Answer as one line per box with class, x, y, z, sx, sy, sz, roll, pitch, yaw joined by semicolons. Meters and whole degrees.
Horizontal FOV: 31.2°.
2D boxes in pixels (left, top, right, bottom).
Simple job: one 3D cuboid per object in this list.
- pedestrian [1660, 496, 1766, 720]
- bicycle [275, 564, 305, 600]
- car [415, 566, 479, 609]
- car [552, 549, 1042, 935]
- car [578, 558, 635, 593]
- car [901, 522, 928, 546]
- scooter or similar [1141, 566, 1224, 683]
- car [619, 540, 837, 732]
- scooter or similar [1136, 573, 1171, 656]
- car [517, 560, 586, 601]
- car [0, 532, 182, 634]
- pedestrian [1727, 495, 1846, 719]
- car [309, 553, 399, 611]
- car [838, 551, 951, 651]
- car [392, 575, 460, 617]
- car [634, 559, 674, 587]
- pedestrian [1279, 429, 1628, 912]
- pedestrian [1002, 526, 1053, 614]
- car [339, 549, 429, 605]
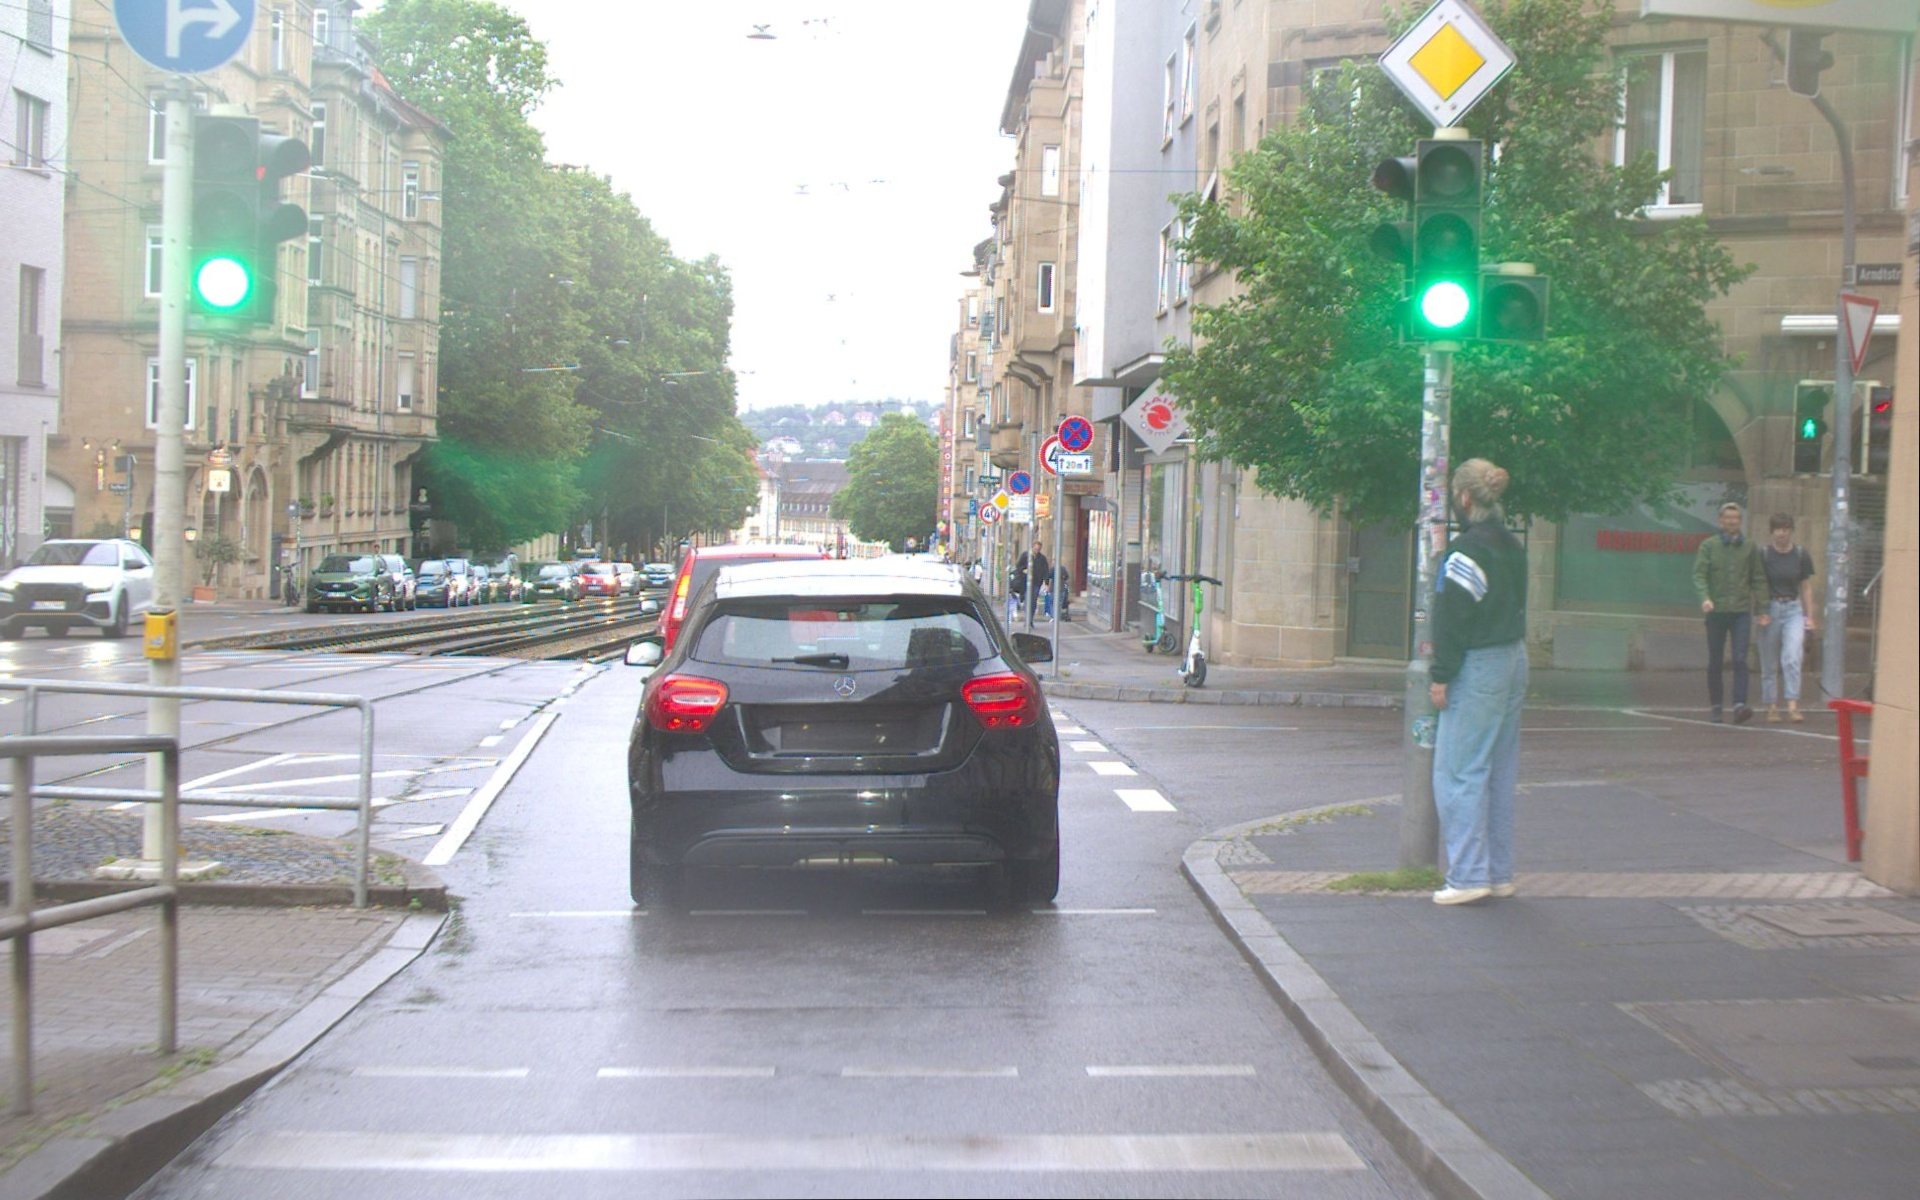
pedestrian;6.109;0.057;27.929;0.594;1.782;0.891;-1;0;-4
bicycle;-18.566;-0.506;95.299;0.598;0.997;2.080;0;1;-5
car;-16.954;-0.418;113.699;1.569;1.408;3.481;0;1;1
car;-0.606;0.526;15.359;1.866;1.447;4.000;2;1;1
car;-14.177;-1.002;138.107;1.806;1.356;4.763;0;1;0
car;-2.758;-3.976;208.012;1.613;1.313;4.000;2;0;-1
scooter or similar;2.334;0.244;36.198;0.638;1.206;1.553;0;1;-5
car;-1.911;0.252;28.625;1.649;1.447;4.001;2;1;-3
scooter or similar;2.881;0.208;51.288;0.395;1.212;1.107;1;1;-3
car;-14.293;-0.691;120.376;1.948;1.392;4.274;0;1;-1
car;-14.607;-0.290;57.696;1.993;1.622;5.253;0;0;-1
pedestrian;6.722;0.053;27.979;0.682;1.782;0.902;-1;0;-4
car;-16.571;-0.509;94.225;1.722;1.536;3.934;0;1;1
car;-1.071;-0.009;56.293;1.765;1.553;4.746;0;0;-1
car;-16.967;-0.133;109.363;1.569;1.312;3.481;0;1;1
car;-15.572;-1.373;175.252;1.695;1.384;3.481;0;1;1
pedestrian;1.967;0.263;13.712;0.967;1.834;0.900;-2;1;43
pedestrian;1.367;-0.615;70.013;0.945;1.763;1.015;1;1;-3
car;-16.671;-0.683;99.705;1.806;1.591;4.525;0;1;1
